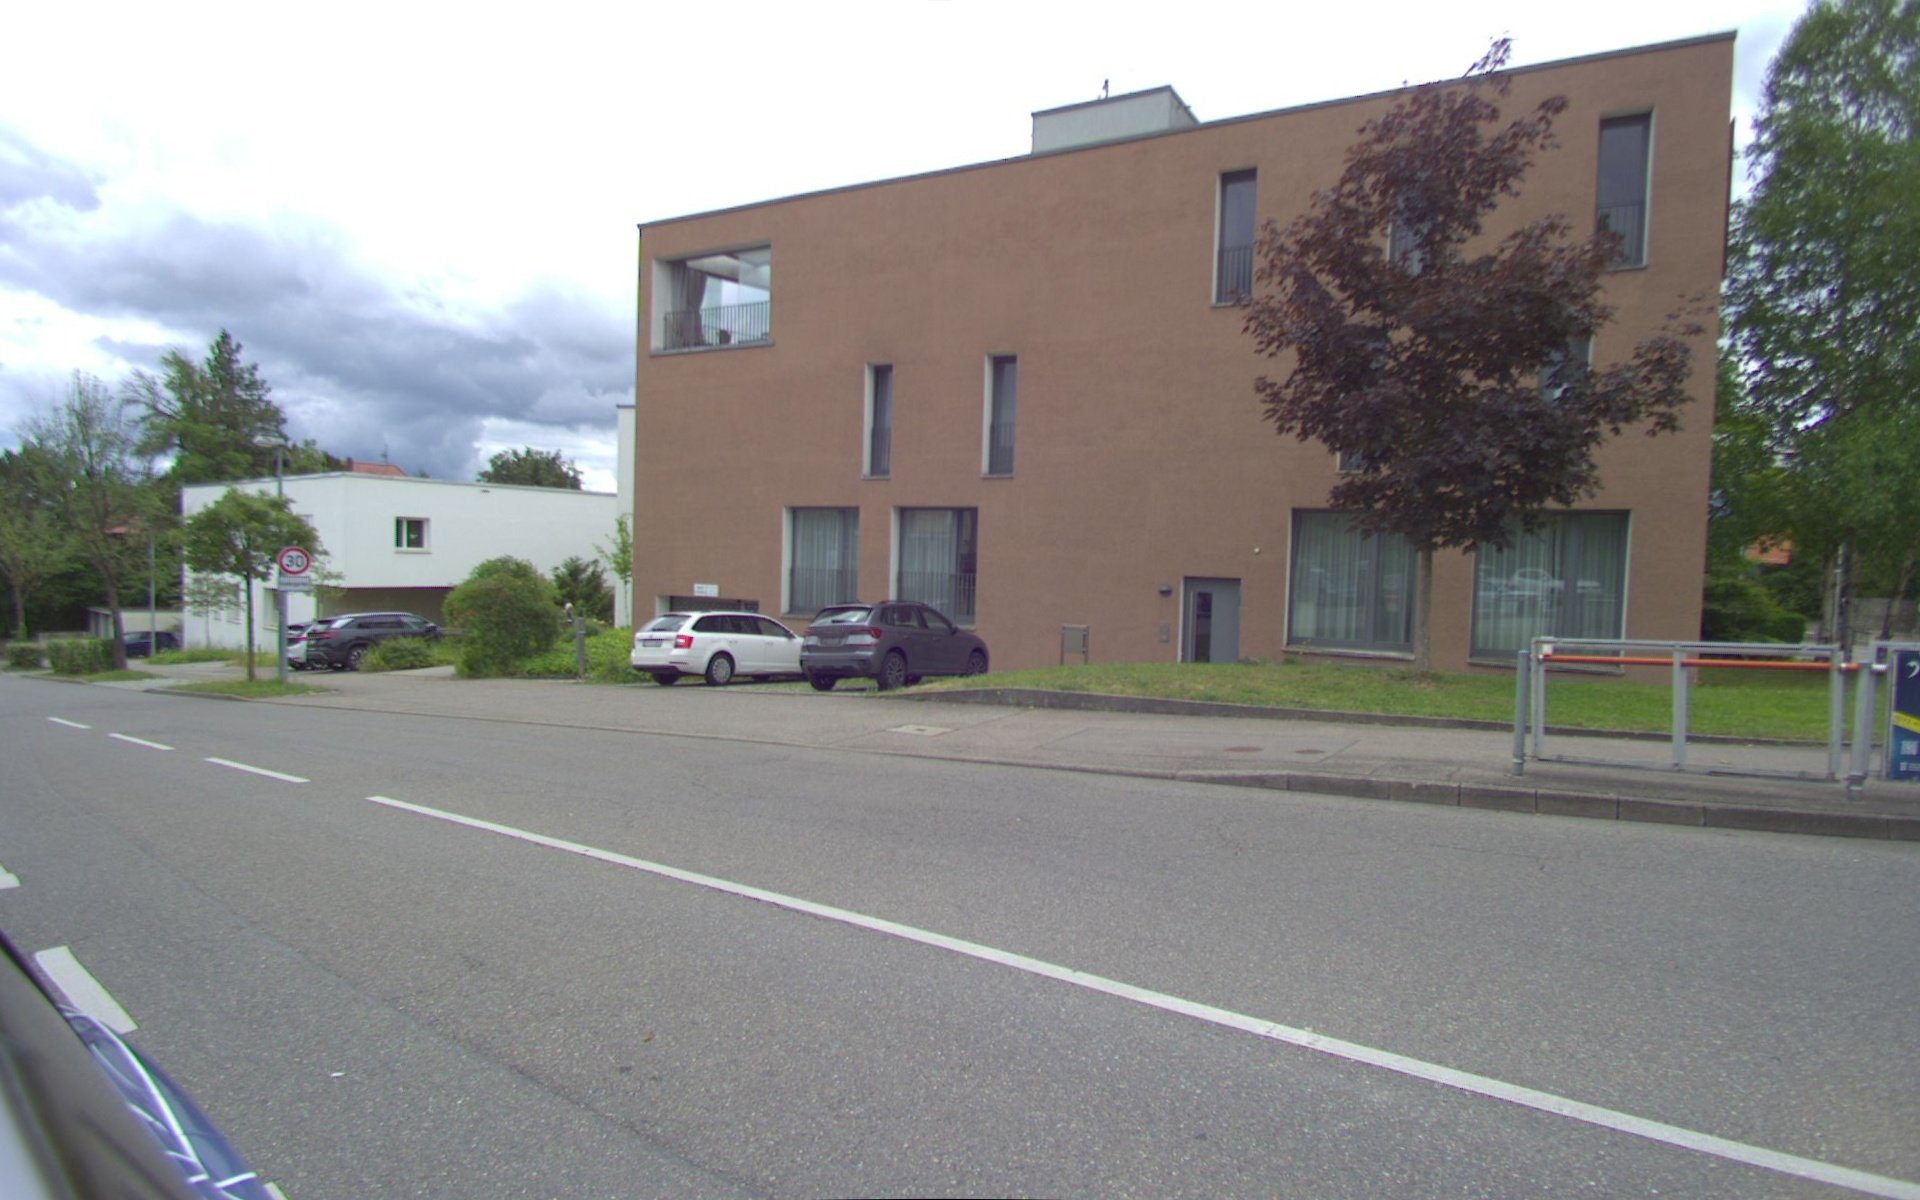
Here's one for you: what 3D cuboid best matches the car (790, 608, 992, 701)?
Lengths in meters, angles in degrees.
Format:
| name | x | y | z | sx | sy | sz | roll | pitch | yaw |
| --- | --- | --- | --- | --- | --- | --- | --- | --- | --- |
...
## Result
| name | x | y | z | sx | sy | sz | roll | pitch | yaw |
| --- | --- | --- | --- | --- | --- | --- | --- | --- | --- |
| car | -1.131 | 0.934 | 18.127 | 1.727 | 1.475 | 3.730 | -3 | -2 | 33 |

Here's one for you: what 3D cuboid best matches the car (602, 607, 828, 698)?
| name | x | y | z | sx | sy | sz | roll | pitch | yaw |
| --- | --- | --- | --- | --- | --- | --- | --- | --- | --- |
| car | -4.872 | 0.983 | 20.653 | 2.010 | 1.635 | 4.222 | 0 | -1 | 36 |

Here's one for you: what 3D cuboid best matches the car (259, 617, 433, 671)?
| name | x | y | z | sx | sy | sz | roll | pitch | yaw |
| --- | --- | --- | --- | --- | --- | --- | --- | --- | --- |
| car | -19.570 | 1.363 | 32.399 | 2.063 | 1.578 | 4.345 | -2 | -2 | 37 |

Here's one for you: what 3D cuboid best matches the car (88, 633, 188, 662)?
| name | x | y | z | sx | sy | sz | roll | pitch | yaw |
| --- | --- | --- | --- | --- | --- | --- | --- | --- | --- |
| car | -43.228 | 2.482 | 53.266 | 1.737 | 1.364 | 3.762 | -2 | -1 | 35 |

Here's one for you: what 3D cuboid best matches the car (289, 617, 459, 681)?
| name | x | y | z | sx | sy | sz | roll | pitch | yaw |
| --- | --- | --- | --- | --- | --- | --- | --- | --- | --- |
| car | -17.556 | 1.420 | 30.445 | 2.007 | 1.666 | 3.947 | -2 | 0 | 40 |

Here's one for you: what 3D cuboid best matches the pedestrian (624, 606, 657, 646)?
| name | x | y | z | sx | sy | sz | roll | pitch | yaw |
| --- | --- | --- | --- | --- | --- | --- | --- | --- | --- |
| pedestrian | -10.639 | 0.853 | 33.670 | 0.898 | 1.293 | 0.601 | -2 | 0 | 39 |
